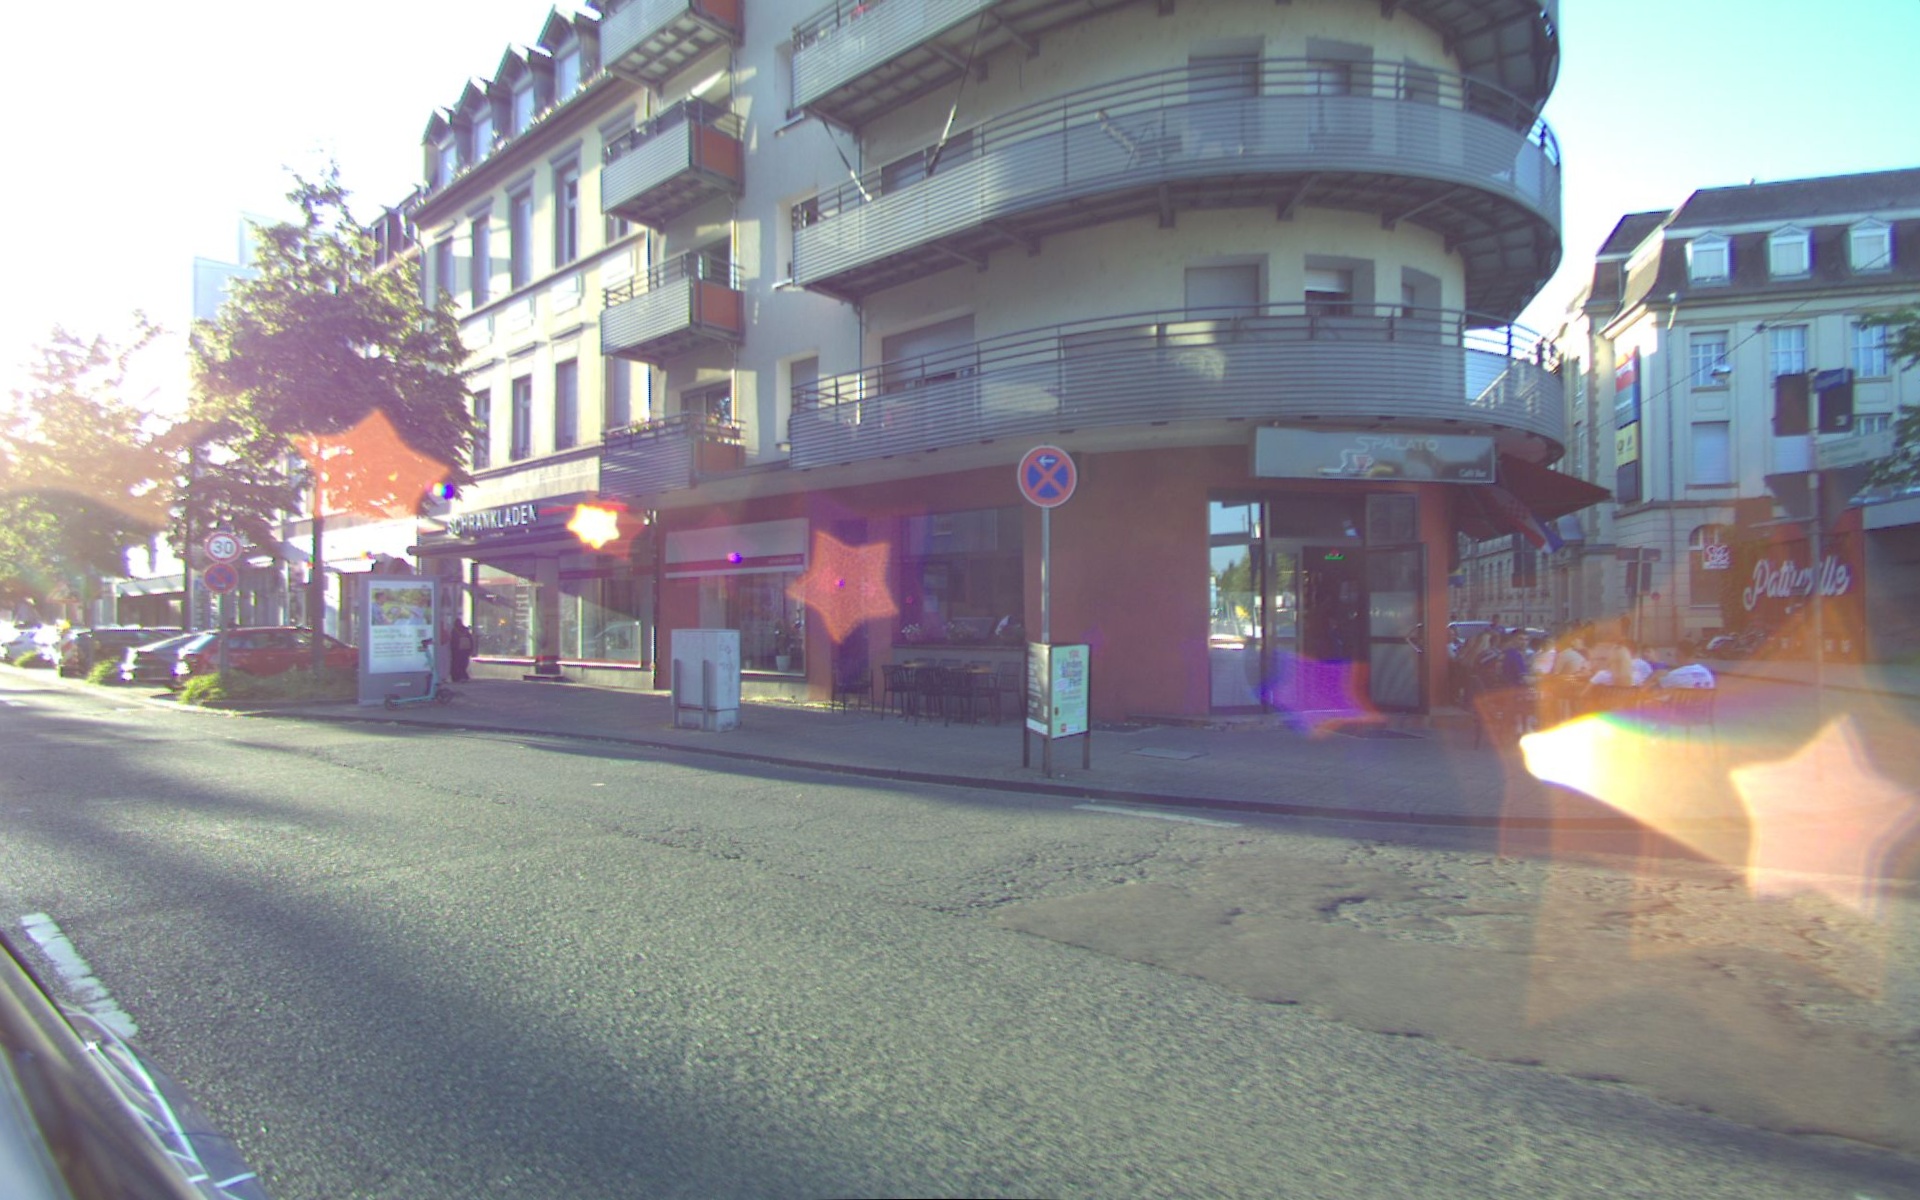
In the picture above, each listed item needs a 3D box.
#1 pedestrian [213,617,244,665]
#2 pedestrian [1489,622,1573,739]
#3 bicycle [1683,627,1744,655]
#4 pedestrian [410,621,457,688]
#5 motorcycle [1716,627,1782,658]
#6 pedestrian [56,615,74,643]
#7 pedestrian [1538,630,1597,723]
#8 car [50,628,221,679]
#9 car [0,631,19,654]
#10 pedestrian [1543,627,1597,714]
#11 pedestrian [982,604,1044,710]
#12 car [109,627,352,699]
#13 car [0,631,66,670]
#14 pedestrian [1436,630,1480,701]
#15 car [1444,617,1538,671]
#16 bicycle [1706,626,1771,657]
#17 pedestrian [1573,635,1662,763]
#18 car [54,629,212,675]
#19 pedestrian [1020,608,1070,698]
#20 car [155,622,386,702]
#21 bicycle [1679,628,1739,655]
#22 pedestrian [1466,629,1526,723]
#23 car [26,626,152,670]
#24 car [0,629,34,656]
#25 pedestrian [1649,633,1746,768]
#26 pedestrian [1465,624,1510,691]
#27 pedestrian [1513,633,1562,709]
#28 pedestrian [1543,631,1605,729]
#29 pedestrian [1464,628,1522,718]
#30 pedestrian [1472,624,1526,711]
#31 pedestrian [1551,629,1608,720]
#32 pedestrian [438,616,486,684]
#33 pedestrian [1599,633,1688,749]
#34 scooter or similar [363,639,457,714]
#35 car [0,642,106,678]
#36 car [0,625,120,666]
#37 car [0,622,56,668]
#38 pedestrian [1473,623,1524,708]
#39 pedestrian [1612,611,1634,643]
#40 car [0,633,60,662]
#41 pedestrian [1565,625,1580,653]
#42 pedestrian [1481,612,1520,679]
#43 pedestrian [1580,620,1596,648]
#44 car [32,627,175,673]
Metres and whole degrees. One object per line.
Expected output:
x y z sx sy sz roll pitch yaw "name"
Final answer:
-27.453 1.542 37.977 0.875 1.734 0.764 0 1 41 "pedestrian"
6.987 0.954 12.376 0.827 1.358 0.740 0 -1 35 "pedestrian"
29.388 1.603 39.503 1.794 1.016 0.506 -2 -1 25 "bicycle"
-12.776 1.306 24.548 0.875 1.539 0.726 0 1 41 "pedestrian"
28.733 1.546 36.883 1.791 1.087 0.507 -2 -1 21 "motorcycle"
-57.578 1.875 65.116 0.933 1.762 0.712 -2 1 41 "pedestrian"
8.600 1.059 14.325 0.699 1.256 0.615 0 -1 32 "pedestrian"
-27.029 1.695 33.279 1.882 1.414 4.067 -2 0 38 "car"
-63.576 2.808 65.401 1.742 1.468 3.828 -2 -1 39 "car"
9.519 1.081 15.800 0.699 1.297 0.615 0 -1 32 "pedestrian"
0.822 0.865 15.758 0.751 1.607 0.590 0 -1 42 "pedestrian"
-17.776 1.472 24.860 1.820 1.418 4.525 -2 0 39 "car"
-37.641 2.003 39.308 1.765 1.432 4.109 -2 0 39 "car"
9.020 1.163 18.323 0.698 1.234 0.616 0 -1 28 "pedestrian"
16.797 1.354 32.213 1.954 1.608 3.976 -1 -1 18 "car"
28.924 1.539 37.614 1.793 1.087 0.507 -2 -1 24 "bicycle"
6.984 1.019 10.785 0.765 1.251 0.890 0 -1 32 "pedestrian"
-28.743 1.771 35.257 1.843 1.414 4.053 -2 -1 42 "car"
1.495 0.909 17.793 0.598 1.530 0.665 0 -1 41 "pedestrian"
-15.704 1.344 23.205 1.883 1.548 4.030 -2 0 41 "car"
29.617 1.640 40.039 1.794 1.016 0.506 -2 -1 25 "bicycle"
7.506 1.046 14.169 0.699 1.256 0.615 0 -1 32 "pedestrian"
-34.168 1.850 39.745 1.714 1.513 3.521 -2 0 40 "car"
-59.412 2.646 61.905 1.742 1.579 3.828 -2 -1 39 "car"
7.584 1.002 10.448 0.746 1.283 0.820 0 -1 32 "pedestrian"
10.582 1.143 20.314 0.696 1.297 0.618 1 -1 20 "pedestrian"
9.809 1.185 17.208 0.698 1.234 0.616 0 -1 28 "pedestrian"
8.294 1.053 13.681 0.699 1.256 0.615 0 -1 32 "pedestrian"
7.799 1.052 14.803 0.699 1.256 0.615 0 -1 32 "pedestrian"
8.348 1.027 15.668 0.699 1.297 0.649 0 -1 32 "pedestrian"
9.206 1.086 15.050 0.699 1.297 0.615 0 -1 32 "pedestrian"
-12.343 1.226 25.076 0.875 1.619 0.764 0 1 41 "pedestrian"
7.932 1.021 11.753 0.827 1.256 0.715 0 -1 35 "pedestrian"
-9.893 1.345 18.225 0.525 1.235 1.385 -2 -1 38 "scooter or similar"
-43.180 2.785 47.532 1.743 1.495 4.501 -2 -1 41 "car"
-39.988 1.982 44.571 1.888 1.608 4.362 -2 -1 40 "car"
-39.722 1.879 41.183 1.888 1.786 4.109 -2 0 39 "car"
8.877 1.062 16.687 0.699 1.343 0.615 0 -1 32 "pedestrian"
33.861 1.374 51.699 0.837 1.610 0.729 -2 -2 29 "pedestrian"
-51.444 2.573 54.524 1.743 1.495 4.230 -2 -1 41 "car"
30.788 1.970 50.886 0.537 1.407 0.383 -1 -1 14 "pedestrian"
12.253 1.012 22.965 0.616 1.480 0.698 1 -1 15 "pedestrian"
31.429 1.695 50.657 0.514 1.407 0.397 -1 -1 14 "pedestrian"
-31.191 1.795 36.944 1.804 1.455 3.702 -2 0 38 "car"
